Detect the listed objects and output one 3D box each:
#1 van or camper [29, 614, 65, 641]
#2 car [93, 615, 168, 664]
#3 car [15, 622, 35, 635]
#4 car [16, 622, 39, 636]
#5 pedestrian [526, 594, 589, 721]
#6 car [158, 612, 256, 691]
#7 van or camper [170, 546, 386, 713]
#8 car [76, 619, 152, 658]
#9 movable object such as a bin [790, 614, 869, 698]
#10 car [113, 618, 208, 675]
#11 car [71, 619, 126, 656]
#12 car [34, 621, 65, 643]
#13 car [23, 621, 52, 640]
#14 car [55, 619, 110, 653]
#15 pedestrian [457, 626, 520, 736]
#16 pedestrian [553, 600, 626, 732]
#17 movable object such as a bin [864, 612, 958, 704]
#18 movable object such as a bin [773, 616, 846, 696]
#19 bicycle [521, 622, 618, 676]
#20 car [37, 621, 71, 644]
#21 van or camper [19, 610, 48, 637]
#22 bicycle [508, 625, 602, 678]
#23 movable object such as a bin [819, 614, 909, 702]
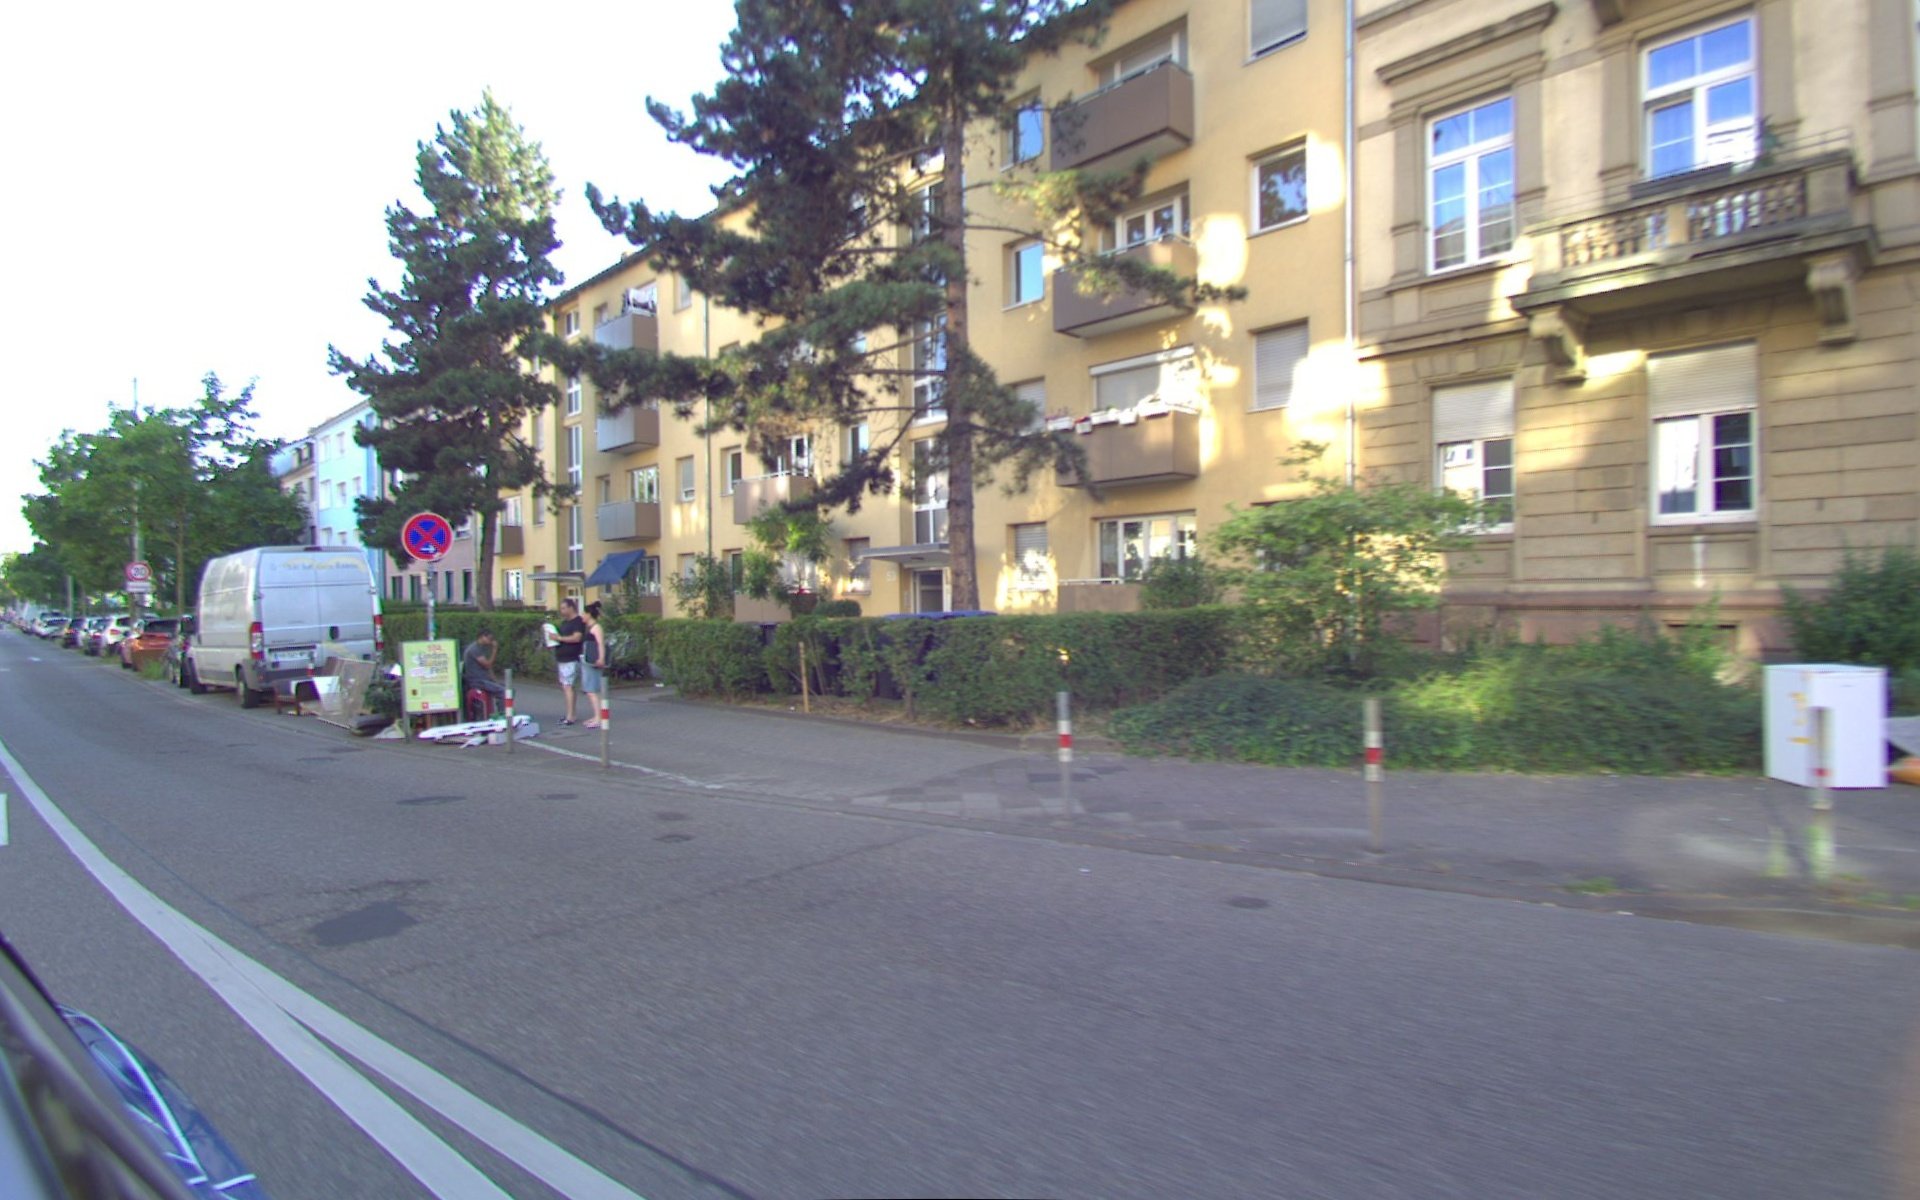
[{"bbox_3d":[-73.190,2.196,81.112,4.866,2.029,1.784,-1,0,45],"label":"van or camper"},{"bbox_3d":[-30.517,1.411,37.194,1.756,1.600,4.189,-2,1,-44],"label":"car"},{"bbox_3d":[-119.456,3.626,129.297,1.783,1.609,3.960,-2,0,-43],"label":"car"},{"bbox_3d":[-107.083,3.339,116.221,1.736,1.458,3.791,-1,0,-40],"label":"car"},{"bbox_3d":[-5.447,0.759,13.705,0.724,1.664,0.475,-1,0,40],"label":"pedestrian"},{"bbox_3d":[-16.672,1.092,22.379,1.387,1.560,2.764,-3,1,-43],"label":"car"},{"bbox_3d":[-13.065,0.488,19.171,6.016,2.683,2.013,-1,2,43],"label":"van or camper"},{"bbox_3d":[-34.135,1.515,40.808,1.971,1.459,4.461,-1,0,-45],"label":"car"},{"bbox_3d":[-1.802,0.757,13.972,0.582,1.058,0.857,-1,2,44],"label":"movable object such as a bin"},{"bbox_3d":[-23.018,1.288,29.086,1.697,1.462,3.925,-2,0,-44],"label":"car"},{"bbox_3d":[-39.200,1.662,46.025,3.644,1.503,1.573,0,1,45],"label":"car"},{"bbox_3d":[-66.203,2.340,73.578,1.555,1.480,3.494,-3,1,-43],"label":"car"},{"bbox_3d":[-79.445,2.638,87.169,1.783,1.509,3.960,-2,0,-43],"label":"car"},{"bbox_3d":[-42.970,1.733,49.523,1.816,1.529,4.319,-3,1,-43],"label":"car"},{"bbox_3d":[-6.235,1.048,13.386,0.480,1.388,0.553,-1,1,40],"label":"pedestrian"},{"bbox_3d":[-4.854,0.844,13.253,0.696,1.664,0.598,-1,0,39],"label":"pedestrian"},{"bbox_3d":[-0.625,0.718,12.895,0.769,1.058,0.857,-1,2,44],"label":"movable object such as a bin"},{"bbox_3d":[-2.152,0.787,14.480,0.582,1.058,0.802,-1,2,44],"label":"movable object such as a bin"},{"bbox_3d":[-8.057,0.985,20.935,1.764,0.989,0.590,-3,1,-44],"label":"bicycle"},{"bbox_3d":[-62.665,2.248,69.965,1.660,1.454,3.885,-3,1,-43],"label":"car"},{"bbox_3d":[-89.038,2.250,97.263,1.891,2.562,5.338,-1,0,-44],"label":"van or camper"},{"bbox_3d":[-8.580,1.079,21.475,1.738,0.989,0.590,-3,1,-44],"label":"bicycle"},{"bbox_3d":[-1.275,0.747,13.476,0.769,1.058,0.857,-1,2,44],"label":"movable object such as a bin"}]
